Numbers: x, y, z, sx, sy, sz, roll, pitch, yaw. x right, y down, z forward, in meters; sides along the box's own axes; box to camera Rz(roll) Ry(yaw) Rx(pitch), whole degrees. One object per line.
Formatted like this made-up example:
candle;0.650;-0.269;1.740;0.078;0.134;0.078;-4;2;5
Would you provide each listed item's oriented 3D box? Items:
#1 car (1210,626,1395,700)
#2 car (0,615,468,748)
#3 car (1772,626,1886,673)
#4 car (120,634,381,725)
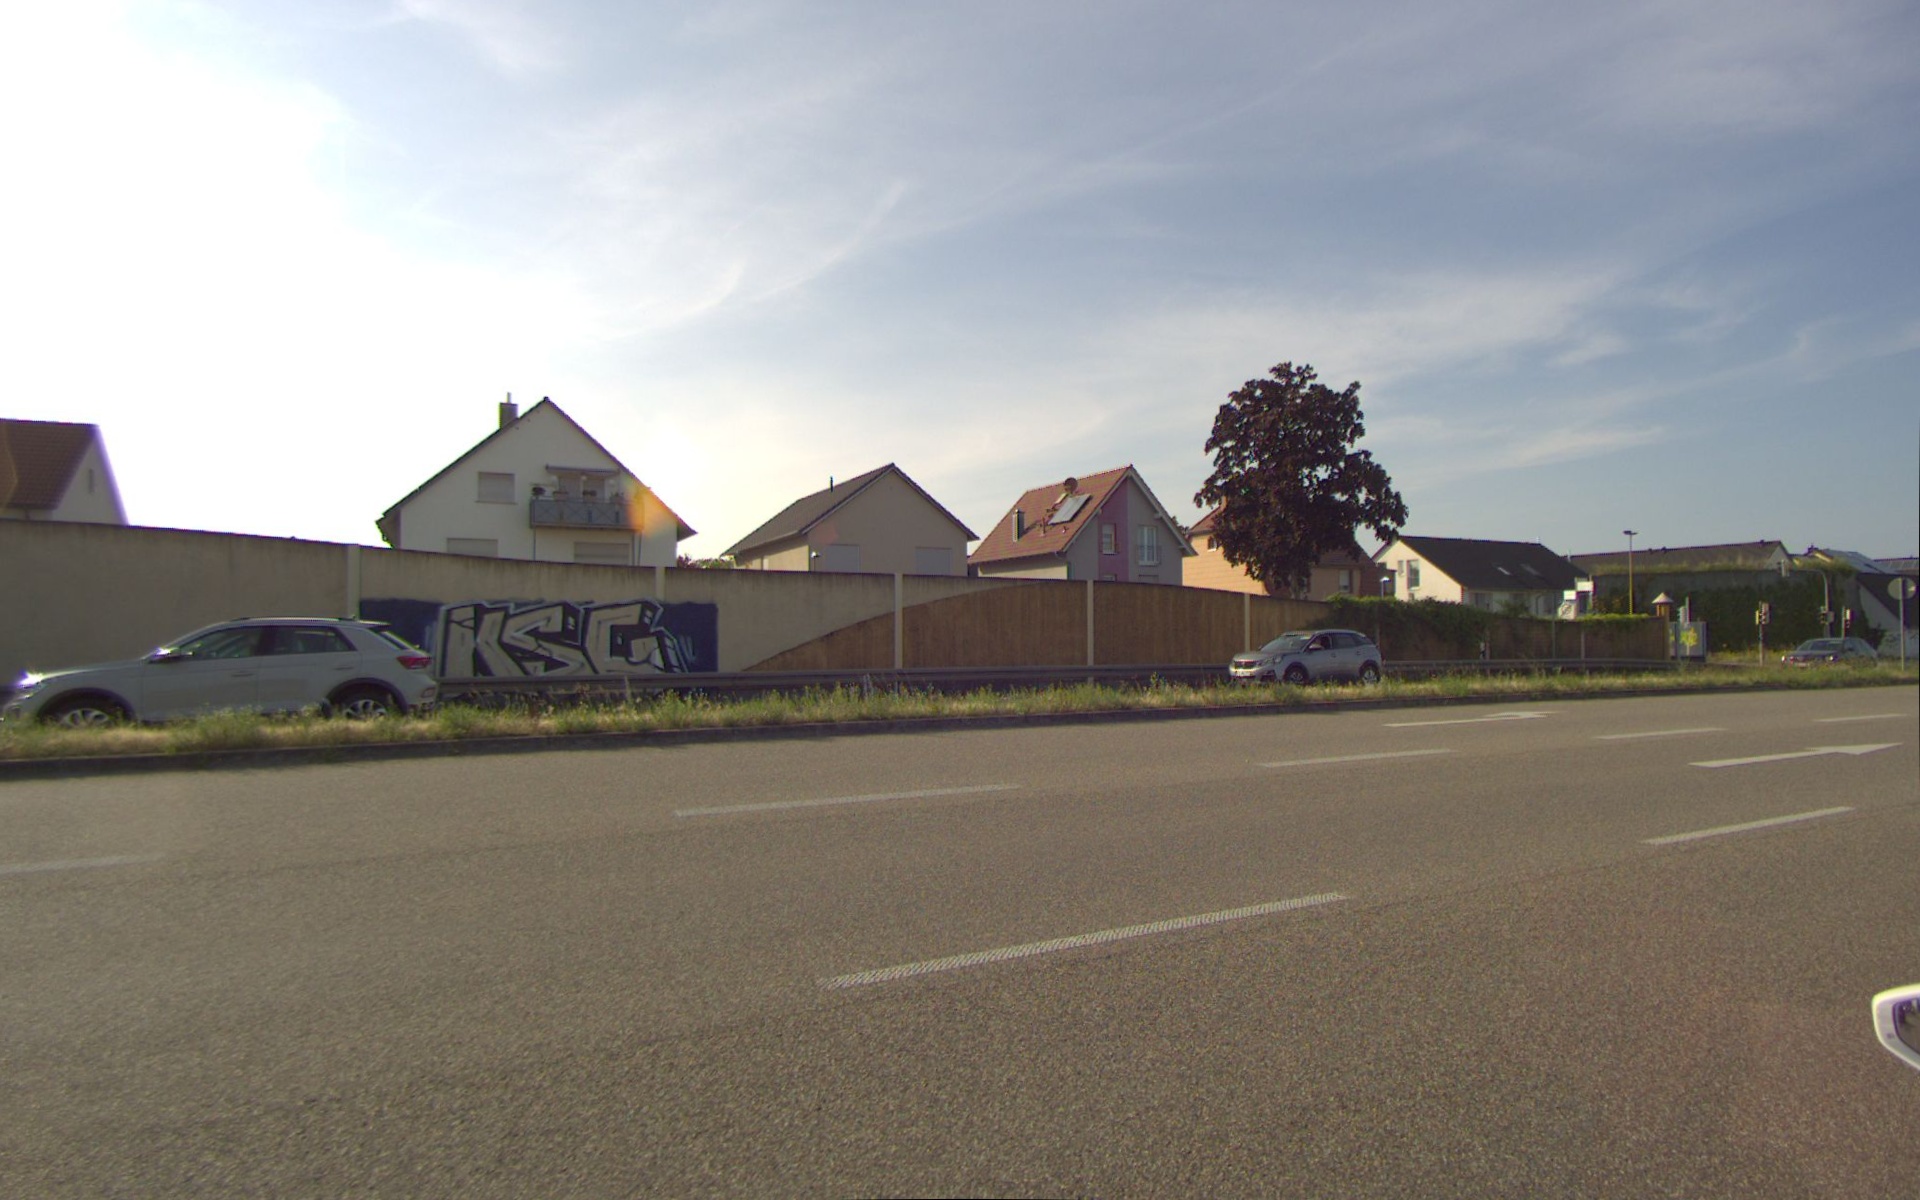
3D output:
car;8.810;1.545;25.777;4.533;1.687;1.968;1;0;-29
car;-8.552;0.867;12.112;4.654;1.339;1.866;1;0;-28
car;33.582;1.871;38.785;4.597;1.650;1.716;1;0;-27
car;-10.587;1.145;15.229;3.022;1.179;1.469;1;0;-27
